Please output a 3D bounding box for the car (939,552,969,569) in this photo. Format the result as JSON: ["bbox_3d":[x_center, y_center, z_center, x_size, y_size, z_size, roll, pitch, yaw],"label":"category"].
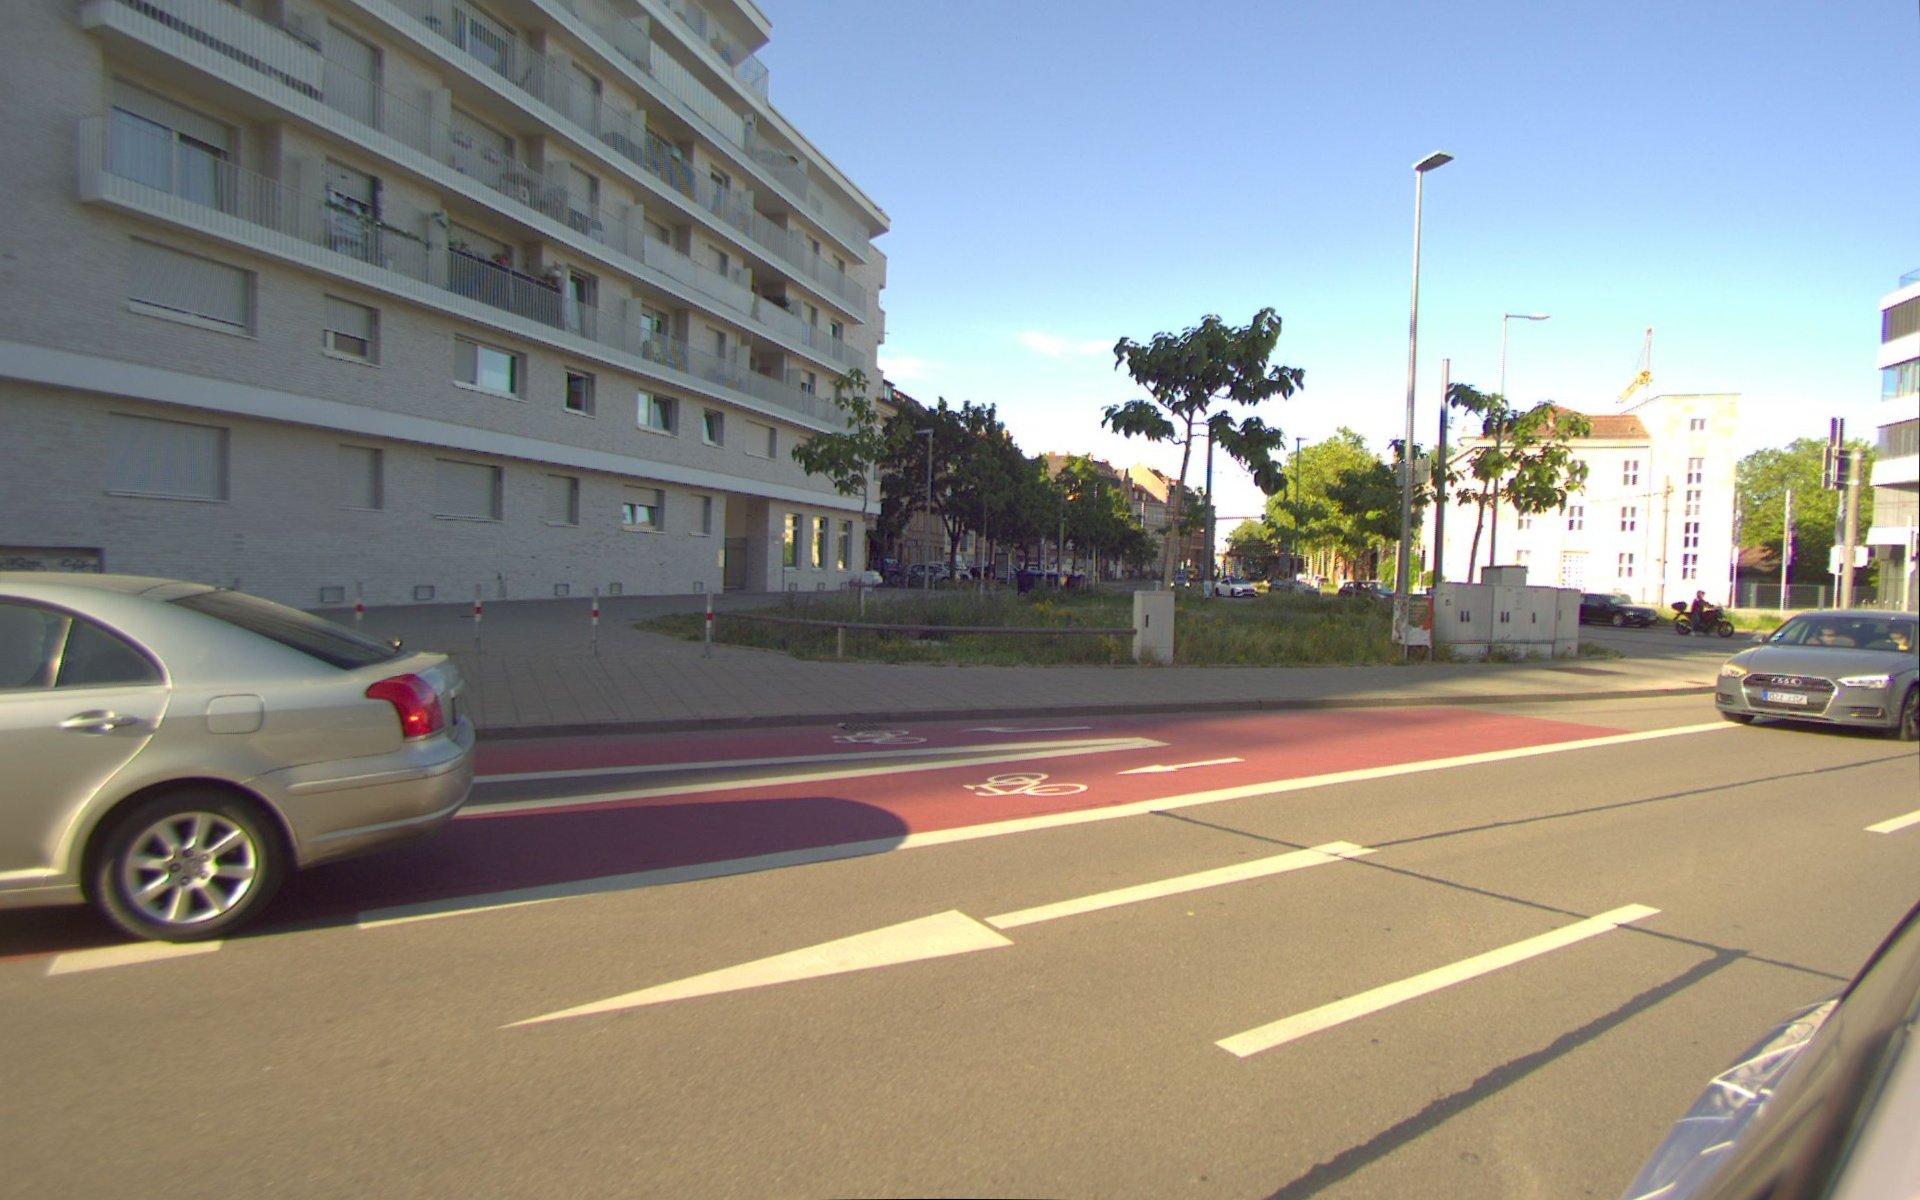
[{"bbox_3d":[-0.637,-4.168,108.028,1.973,1.738,4.240,2,2,17],"label":"car"}]

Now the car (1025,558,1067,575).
[{"bbox_3d":[9.421,-3.681,111.097,4.174,1.738,2.004,1,2,-9],"label":"car"}]

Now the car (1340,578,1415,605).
[{"bbox_3d":[24.808,-0.523,60.283,1.958,1.439,4.010,1,2,-17],"label":"car"}]

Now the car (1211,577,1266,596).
[{"bbox_3d":[20.889,-1.021,76.013,1.958,1.259,4.010,1,2,-21],"label":"car"}]

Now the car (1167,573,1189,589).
[{"bbox_3d":[20.412,-1.830,94.884,1.904,1.393,3.988,2,2,11],"label":"car"}]

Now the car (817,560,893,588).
[{"bbox_3d":[-6.032,-1.492,57.933,3.969,1.415,1.978,3,2,32],"label":"car"}]

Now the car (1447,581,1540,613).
[{"bbox_3d":[27.343,-0.187,52.011,1.958,1.439,4.010,1,2,-17],"label":"car"}]

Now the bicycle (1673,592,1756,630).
[{"bbox_3d":[28.980,0.391,38.912,0.931,1.328,2.377,1,2,-23],"label":"bicycle"}]

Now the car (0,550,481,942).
[{"bbox_3d":[-4.528,0.513,4.334,4.395,1.448,1.760,1,2,-24],"label":"car"}]

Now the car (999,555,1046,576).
[{"bbox_3d":[5.766,-3.206,93.823,3.916,1.738,2.005,1,2,-15],"label":"car"}]

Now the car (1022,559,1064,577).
[{"bbox_3d":[8.902,-3.453,108.359,3.915,1.738,2.005,1,2,-18],"label":"car"}]

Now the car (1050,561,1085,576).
[{"bbox_3d":[13.633,-3.962,127.965,3.916,1.838,2.005,1,2,-14],"label":"car"}]

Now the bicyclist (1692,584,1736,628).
[{"bbox_3d":[28.992,0.230,38.929,0.861,1.627,1.010,1,2,-23],"label":"bicyclist"}]

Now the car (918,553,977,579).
[{"bbox_3d":[-0.929,-2.531,75.277,3.916,1.738,2.004,1,2,-24],"label":"car"}]

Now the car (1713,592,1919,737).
[{"bbox_3d":[11.040,0.673,12.144,4.028,1.459,1.718,1,1,-29],"label":"car"}]

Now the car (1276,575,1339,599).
[{"bbox_3d":[22.979,-0.873,67.069,1.959,1.439,4.535,1,2,-10],"label":"car"}]

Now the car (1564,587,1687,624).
[{"bbox_3d":[29.634,0.217,45.221,1.958,1.439,4.306,1,2,-17],"label":"car"}]

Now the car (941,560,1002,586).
[{"bbox_3d":[0.852,-1.978,73.365,3.916,1.738,2.004,1,2,-24],"label":"car"}]

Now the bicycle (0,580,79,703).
[{"bbox_3d":[-8.969,0.351,8.605,2.161,1.045,0.501,1,2,-29],"label":"bicycle"}]

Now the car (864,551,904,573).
[{"bbox_3d":[-6.483,-3.259,86.884,1.973,1.738,4.240,2,2,17],"label":"car"}]
